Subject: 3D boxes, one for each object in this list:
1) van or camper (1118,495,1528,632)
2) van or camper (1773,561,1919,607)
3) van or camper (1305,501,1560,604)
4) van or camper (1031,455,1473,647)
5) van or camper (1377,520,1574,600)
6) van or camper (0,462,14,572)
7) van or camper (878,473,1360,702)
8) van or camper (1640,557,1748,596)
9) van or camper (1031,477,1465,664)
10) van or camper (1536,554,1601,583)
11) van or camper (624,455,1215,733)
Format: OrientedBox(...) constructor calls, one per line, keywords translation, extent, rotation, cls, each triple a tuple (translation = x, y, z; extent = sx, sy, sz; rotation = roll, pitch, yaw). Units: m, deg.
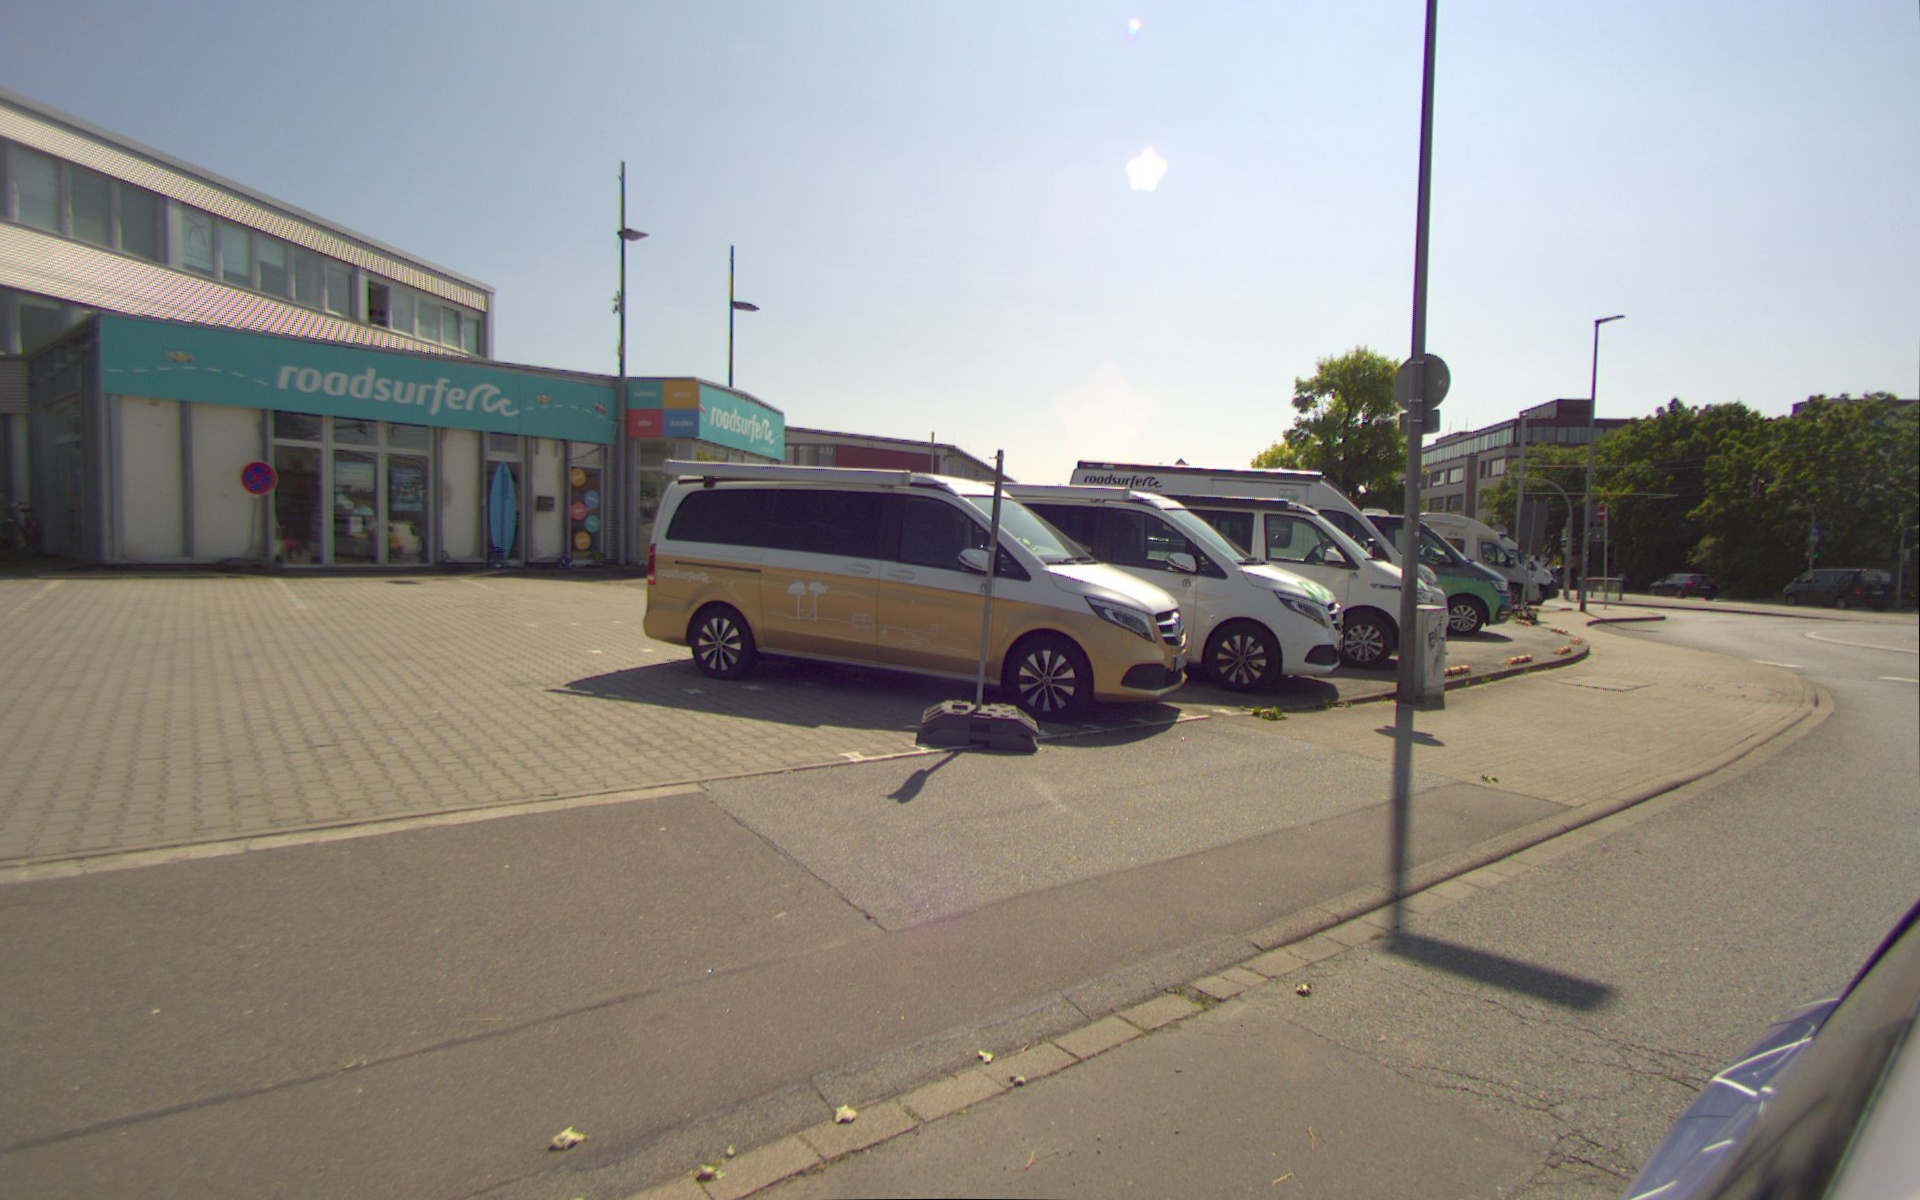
OrientedBox(translation=(6.641, -0.780, 19.284), extent=(6.762, 2.160, 2.770), rotation=(3, 3, 19), cls="van or camper")
OrientedBox(translation=(41.282, -0.817, 47.172), extent=(2.457, 1.850, 5.298), rotation=(2, 3, 1), cls="van or camper")
OrientedBox(translation=(14.985, -1.549, 32.582), extent=(6.730, 2.919, 2.783), rotation=(2, 3, 6), cls="van or camper")
OrientedBox(translation=(4.524, -0.879, 16.429), extent=(6.278, 2.668, 2.520), rotation=(3, 3, 17), cls="van or camper")
OrientedBox(translation=(19.201, -1.545, 38.100), extent=(5.969, 2.676, 2.776), rotation=(3, 3, 14), cls="van or camper")
OrientedBox(translation=(-20.255, -1.583, 17.949), extent=(5.029, 2.038, 2.120), rotation=(-1, 4, -43), cls="van or camper")
OrientedBox(translation=(1.752, -0.280, 11.283), extent=(4.927, 2.069, 2.027), rotation=(4, 4, 23), cls="van or camper")
OrientedBox(translation=(43.014, -1.421, 59.511), extent=(2.457, 2.038, 5.238), rotation=(2, 3, 2), cls="van or camper")
OrientedBox(translation=(3.754, -0.492, 13.601), extent=(5.078, 2.101, 2.436), rotation=(3, 3, 21), cls="van or camper")
OrientedBox(translation=(45.708, -2.412, 76.171), extent=(2.465, 2.038, 5.222), rotation=(2, 3, 11), cls="van or camper")
OrientedBox(translation=(-0.418, -0.240, 9.332), extent=(5.079, 1.984, 1.973), rotation=(4, 5, 23), cls="van or camper")
